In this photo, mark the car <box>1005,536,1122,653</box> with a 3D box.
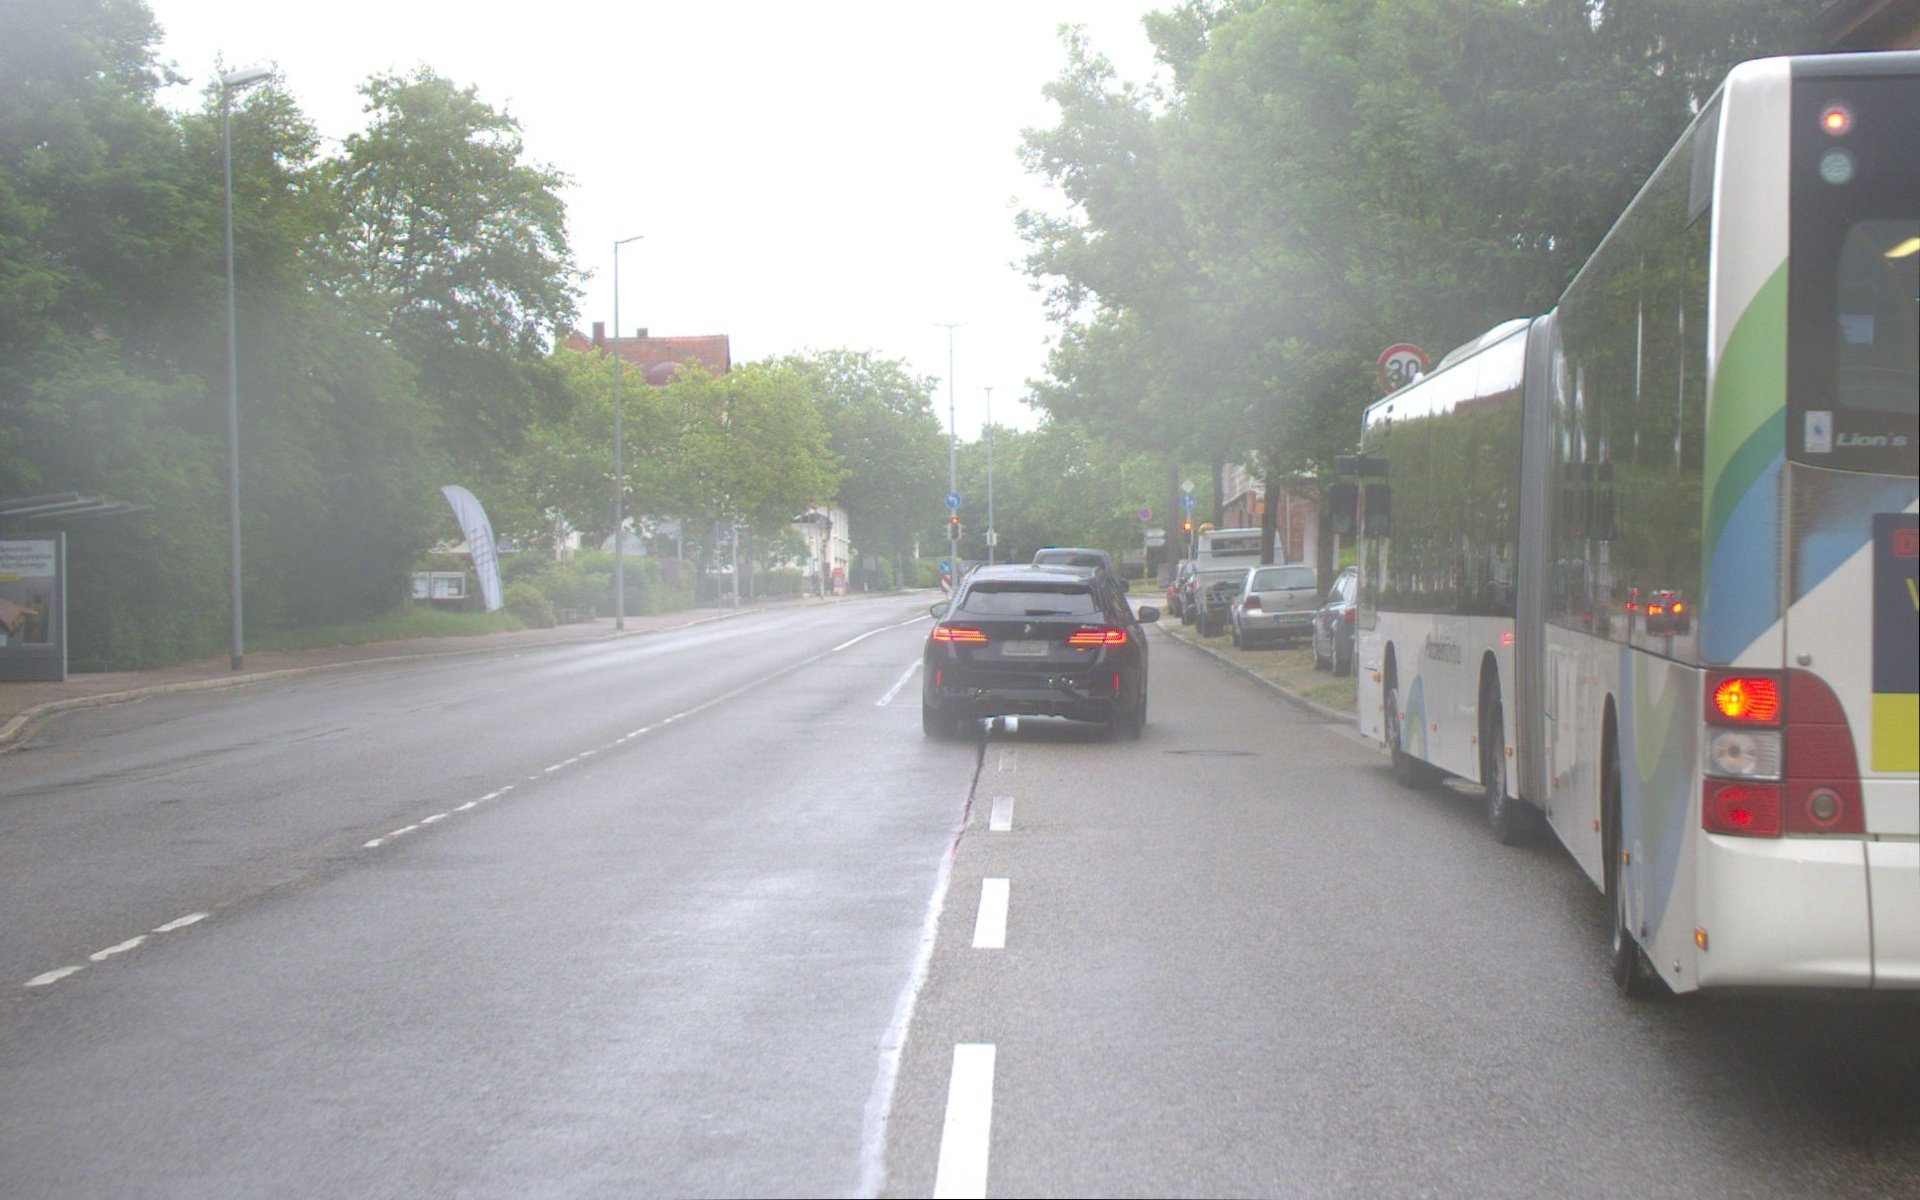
[{"bbox_3d":[1.833,-0.117,61.495,1.993,2.007,4.000,1,1,1],"label":"car"}]

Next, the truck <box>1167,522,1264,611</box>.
[{"bbox_3d":[6.012,-0.819,81.301,1.993,2.006,4.000,0,2,0],"label":"truck"}]

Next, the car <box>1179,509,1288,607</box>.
[{"bbox_3d":[5.799,-0.926,73.317,1.993,2.006,4.000,0,2,0],"label":"car"}]

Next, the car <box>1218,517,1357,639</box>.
[{"bbox_3d":[5.572,-0.415,58.890,1.993,2.006,4.000,0,2,0],"label":"car"}]

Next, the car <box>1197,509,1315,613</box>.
[{"bbox_3d":[5.891,-0.808,68.817,1.993,2.006,4.000,0,2,0],"label":"car"}]

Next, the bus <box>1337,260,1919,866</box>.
[{"bbox_3d":[4.084,-0.262,21.203,2.623,2.838,9.794,-1,1,1],"label":"bus"}]

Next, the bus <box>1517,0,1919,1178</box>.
[{"bbox_3d":[3.534,-0.122,12.272,2.624,2.838,8.287,-1,1,7],"label":"bus"}]

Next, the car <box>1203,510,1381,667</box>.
[{"bbox_3d":[4.398,-0.200,46.082,1.993,2.006,4.000,0,2,0],"label":"car"}]

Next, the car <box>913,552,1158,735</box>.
[{"bbox_3d":[0.689,0.336,30.880,1.993,1.448,4.000,3,1,2],"label":"car"}]
